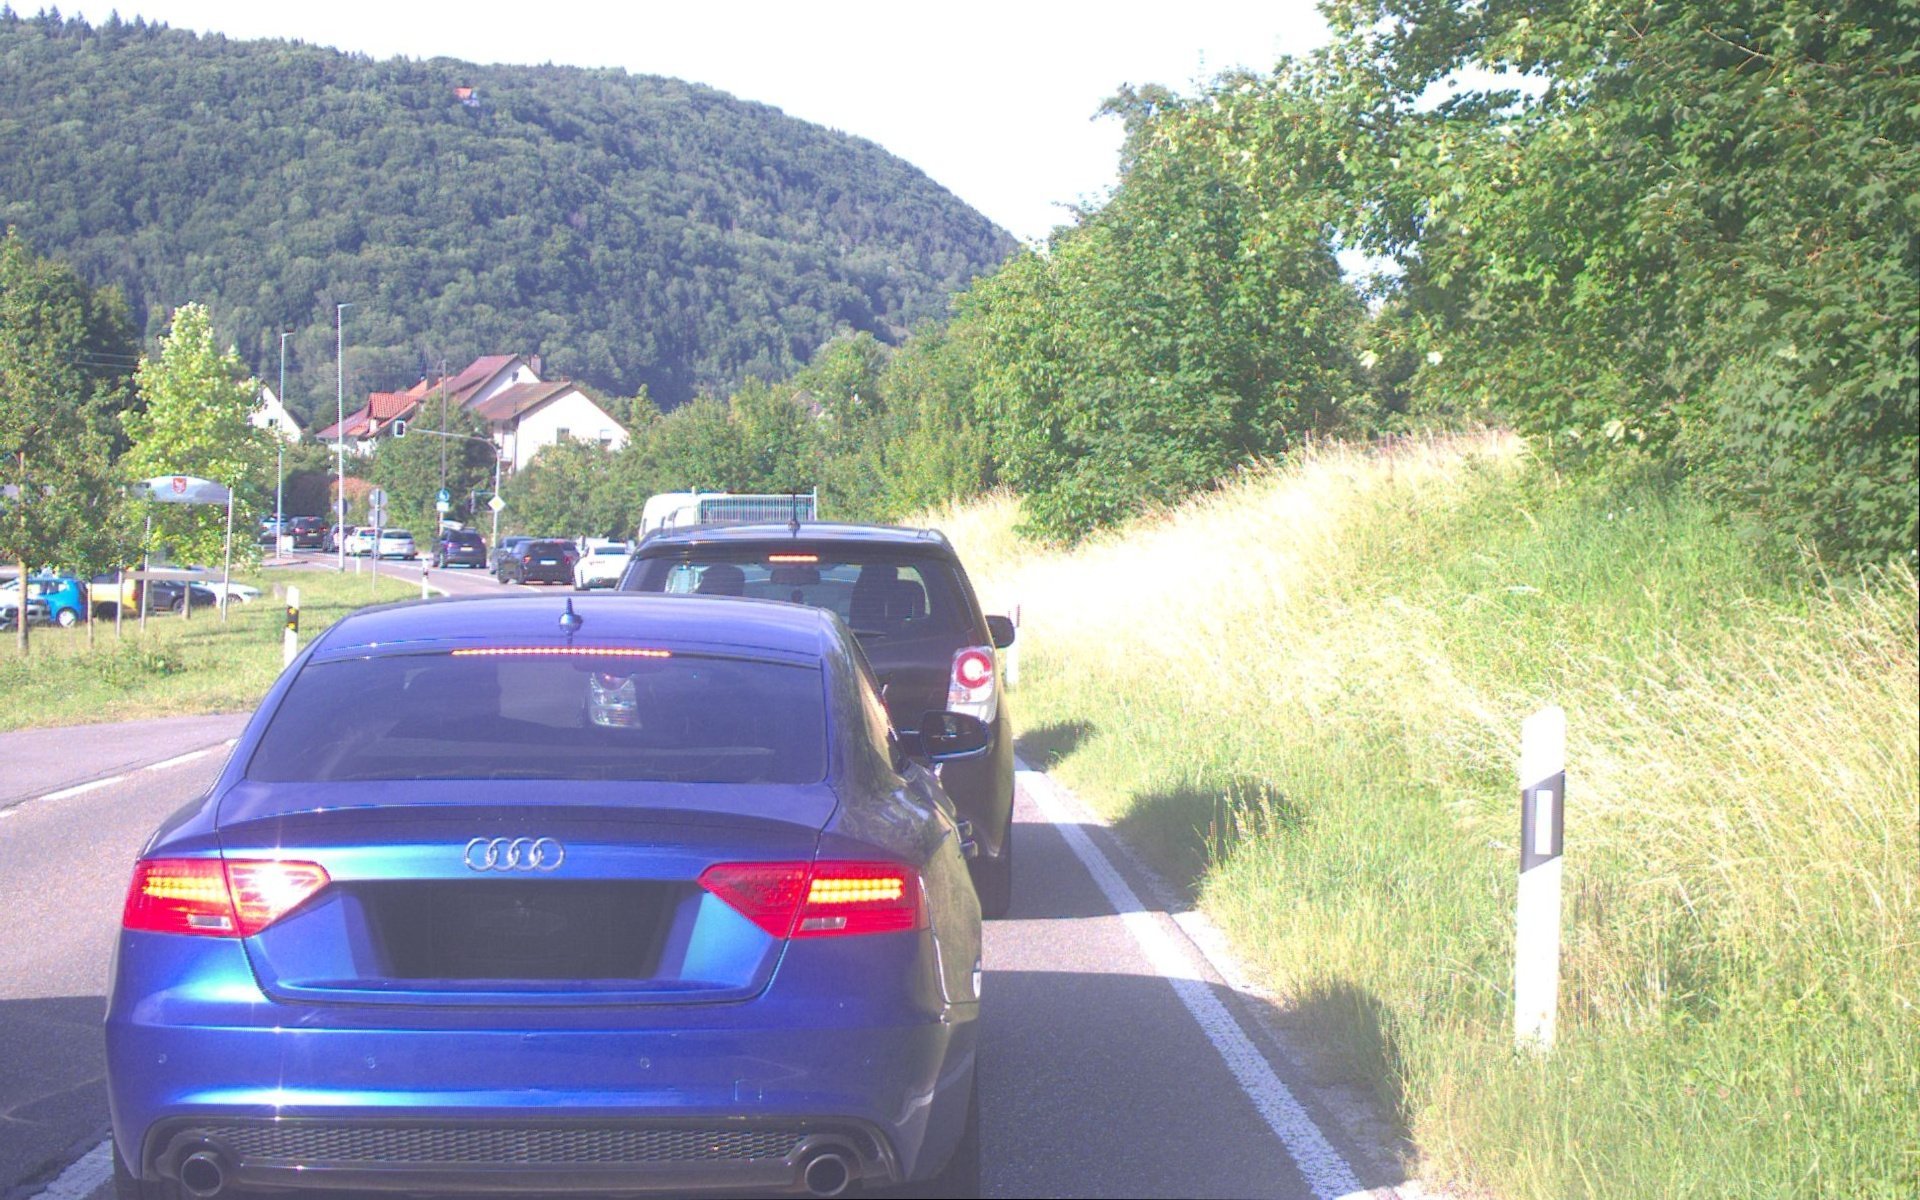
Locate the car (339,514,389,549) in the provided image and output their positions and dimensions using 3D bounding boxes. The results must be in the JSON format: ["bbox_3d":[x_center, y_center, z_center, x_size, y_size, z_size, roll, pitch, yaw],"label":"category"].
[{"bbox_3d":[-29.650,-3.398,170.934,1.845,1.706,4.001,1,1,-18],"label":"car"}]

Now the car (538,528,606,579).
[{"bbox_3d":[-13.333,-1.601,117.962,1.845,1.706,4.001,1,0,-13],"label":"car"}]

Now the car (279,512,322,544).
[{"bbox_3d":[-36.394,-3.962,189.661,1.845,1.706,4.001,1,0,-18],"label":"car"}]

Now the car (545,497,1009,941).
[{"bbox_3d":[-0.690,0.439,15.081,1.754,1.675,3.846,1,0,0],"label":"car"}]

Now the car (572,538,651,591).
[{"bbox_3d":[-10.053,-1.020,99.032,1.845,1.477,4.001,1,0,-12],"label":"car"}]

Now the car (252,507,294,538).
[{"bbox_3d":[-39.646,-4.465,198.325,1.845,1.706,4.001,1,1,-18],"label":"car"}]

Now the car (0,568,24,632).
[{"bbox_3d":[-27.377,-0.027,92.272,3.986,1.705,2.000,1,0,-3],"label":"car"}]

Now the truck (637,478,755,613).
[{"bbox_3d":[-5.355,-1.086,69.452,2.229,2.561,6.709,1,0,-5],"label":"truck"}]

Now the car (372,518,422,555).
[{"bbox_3d":[-26.582,-2.984,162.230,1.845,1.706,4.001,1,0,-16],"label":"car"}]

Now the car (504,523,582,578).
[{"bbox_3d":[-13.495,-1.590,111.183,1.845,1.706,4.001,1,0,-16],"label":"car"}]

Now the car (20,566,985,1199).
[{"bbox_3d":[-0.831,0.644,8.219,1.754,1.425,3.846,1,0,0],"label":"car"}]

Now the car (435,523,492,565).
[{"bbox_3d":[-20.893,-2.344,144.483,1.845,1.706,4.001,1,0,-16],"label":"car"}]

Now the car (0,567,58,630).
[{"bbox_3d":[-27.315,-0.056,95.557,3.986,1.705,2.000,1,0,-3],"label":"car"}]

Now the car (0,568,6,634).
[{"bbox_3d":[-26.855,0.012,88.616,3.986,1.705,2.000,1,0,-3],"label":"car"}]

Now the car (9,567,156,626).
[{"bbox_3d":[-26.524,-0.121,104.019,3.986,1.705,2.000,1,0,-3],"label":"car"}]

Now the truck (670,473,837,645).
[{"bbox_3d":[-3.365,-0.646,54.902,2.229,2.561,6.105,1,0,-7],"label":"truck"}]

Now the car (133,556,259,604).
[{"bbox_3d":[-26.325,-0.691,118.579,3.986,1.573,1.753,1,0,-3],"label":"car"}]

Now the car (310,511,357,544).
[{"bbox_3d":[-32.975,-3.801,180.811,1.845,1.706,4.001,1,1,-18],"label":"car"}]

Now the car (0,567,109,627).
[{"bbox_3d":[-27.324,-0.108,101.344,3.986,1.705,2.000,1,0,-3],"label":"car"}]
